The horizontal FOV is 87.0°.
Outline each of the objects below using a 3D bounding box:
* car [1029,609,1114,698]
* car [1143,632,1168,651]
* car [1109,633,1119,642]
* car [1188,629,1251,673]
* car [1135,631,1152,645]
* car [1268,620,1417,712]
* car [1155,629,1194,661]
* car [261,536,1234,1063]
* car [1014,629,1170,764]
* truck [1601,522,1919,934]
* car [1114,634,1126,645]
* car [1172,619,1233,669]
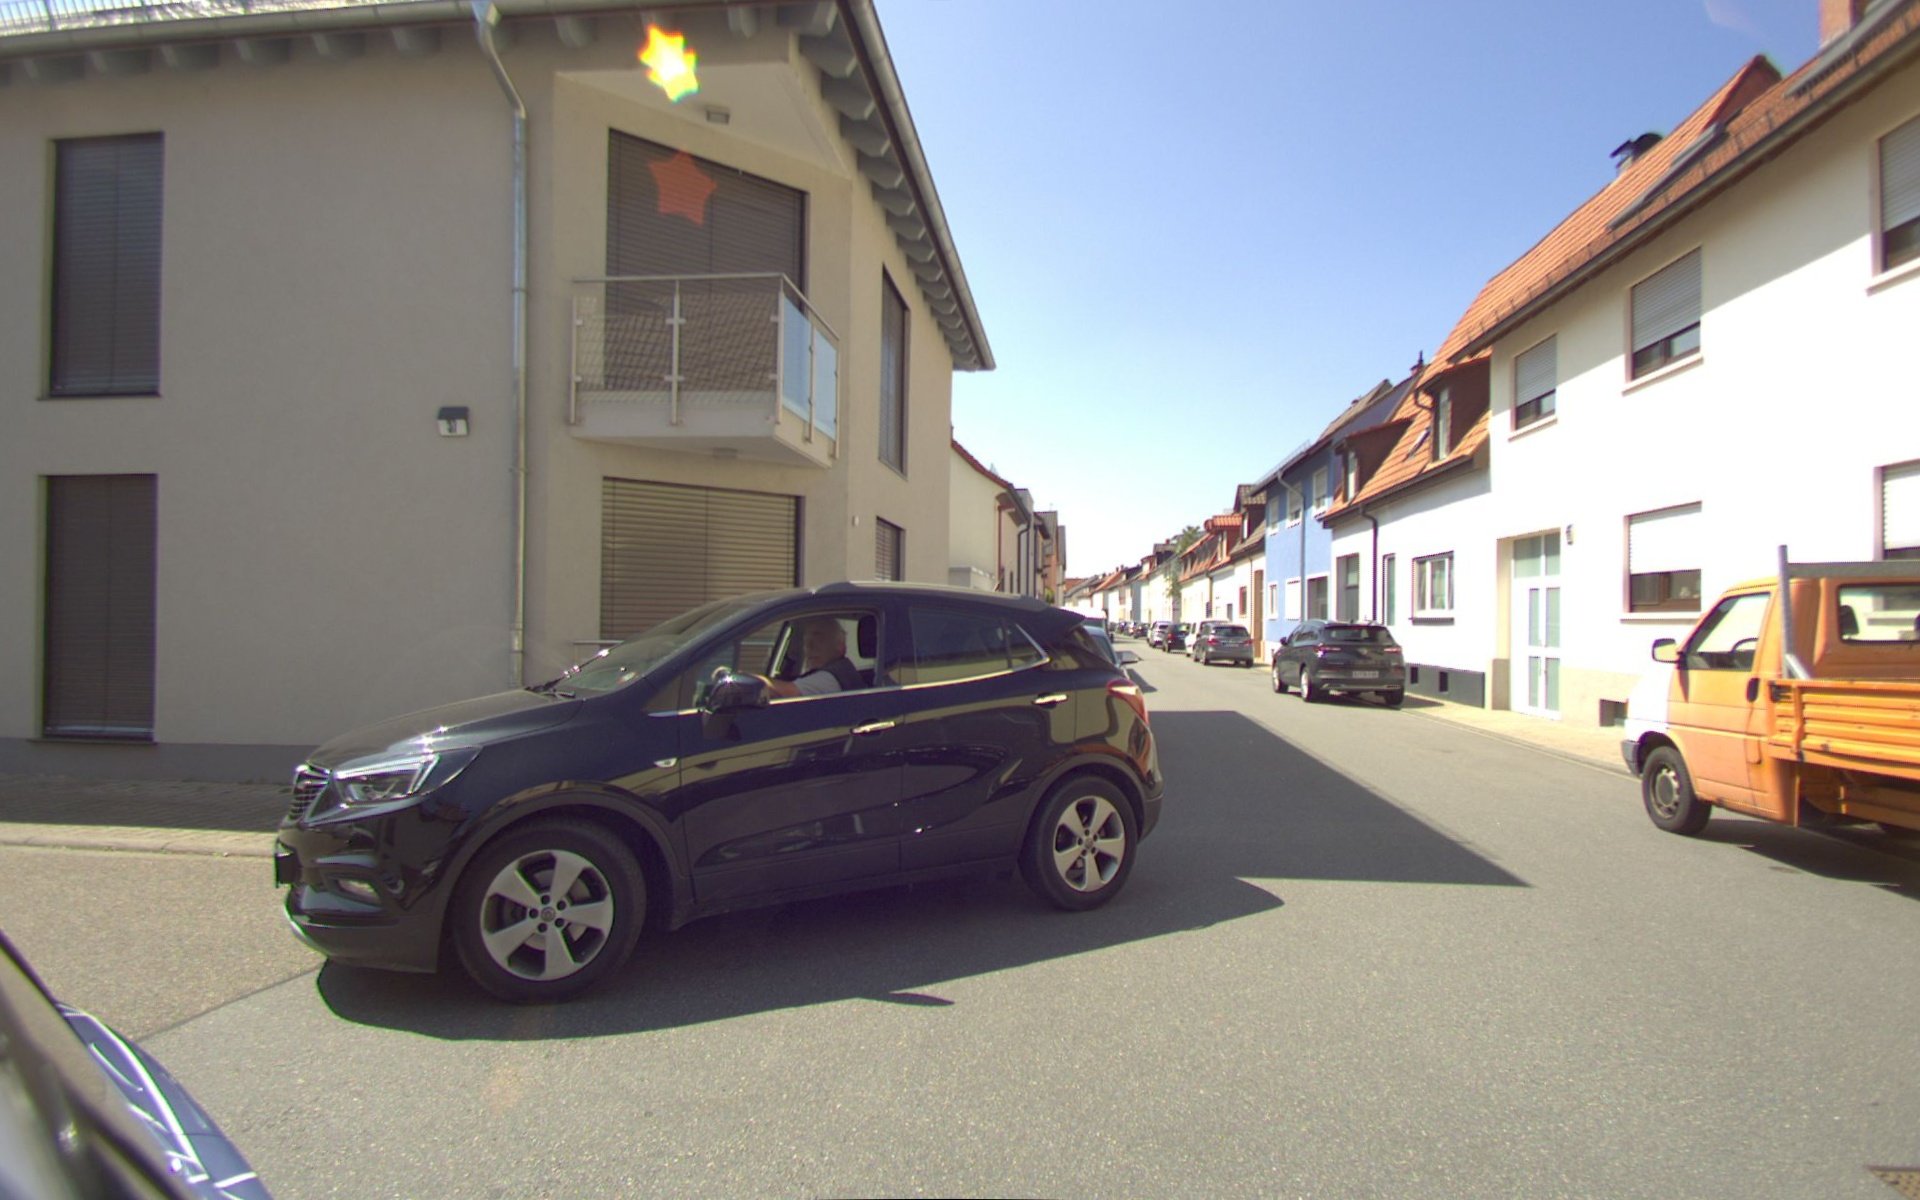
[{"bbox_3d":[2.405,1.120,22.040,1.665,1.743,3.779,1,-2,6],"label":"car"},{"bbox_3d":[11.801,2.480,61.155,1.281,1.084,2.758,1,-2,7],"label":"car"},{"bbox_3d":[21.165,5.084,139.209,1.281,1.193,2.957,1,-2,7],"label":"car"},{"bbox_3d":[9.574,1.855,37.634,1.705,1.513,4.206,1,-2,7],"label":"car"},{"bbox_3d":[16.332,3.403,90.158,1.281,1.193,2.957,1,-2,7],"label":"car"},{"bbox_3d":[7.606,1.266,20.508,1.828,1.626,3.992,1,-2,6],"label":"car"},{"bbox_3d":[11.453,2.376,54.188,1.658,1.586,4.100,1,-2,7],"label":"car"},{"bbox_3d":[-0.802,0.695,4.969,4.208,1.595,1.767,2,-3,-32],"label":"car"},{"bbox_3d":[1.631,1.092,12.730,1.619,1.379,3.919,-1,-1,7],"label":"car"},{"bbox_3d":[5.889,0.657,5.442,2.164,2.029,5.068,1,-1,8],"label":"truck"},{"bbox_3d":[18.400,4.524,116.655,1.281,1.193,2.957,1,-2,7],"label":"car"},{"bbox_3d":[10.871,1.938,45.668,1.974,2.029,3.996,1,0,3],"label":"car"}]
